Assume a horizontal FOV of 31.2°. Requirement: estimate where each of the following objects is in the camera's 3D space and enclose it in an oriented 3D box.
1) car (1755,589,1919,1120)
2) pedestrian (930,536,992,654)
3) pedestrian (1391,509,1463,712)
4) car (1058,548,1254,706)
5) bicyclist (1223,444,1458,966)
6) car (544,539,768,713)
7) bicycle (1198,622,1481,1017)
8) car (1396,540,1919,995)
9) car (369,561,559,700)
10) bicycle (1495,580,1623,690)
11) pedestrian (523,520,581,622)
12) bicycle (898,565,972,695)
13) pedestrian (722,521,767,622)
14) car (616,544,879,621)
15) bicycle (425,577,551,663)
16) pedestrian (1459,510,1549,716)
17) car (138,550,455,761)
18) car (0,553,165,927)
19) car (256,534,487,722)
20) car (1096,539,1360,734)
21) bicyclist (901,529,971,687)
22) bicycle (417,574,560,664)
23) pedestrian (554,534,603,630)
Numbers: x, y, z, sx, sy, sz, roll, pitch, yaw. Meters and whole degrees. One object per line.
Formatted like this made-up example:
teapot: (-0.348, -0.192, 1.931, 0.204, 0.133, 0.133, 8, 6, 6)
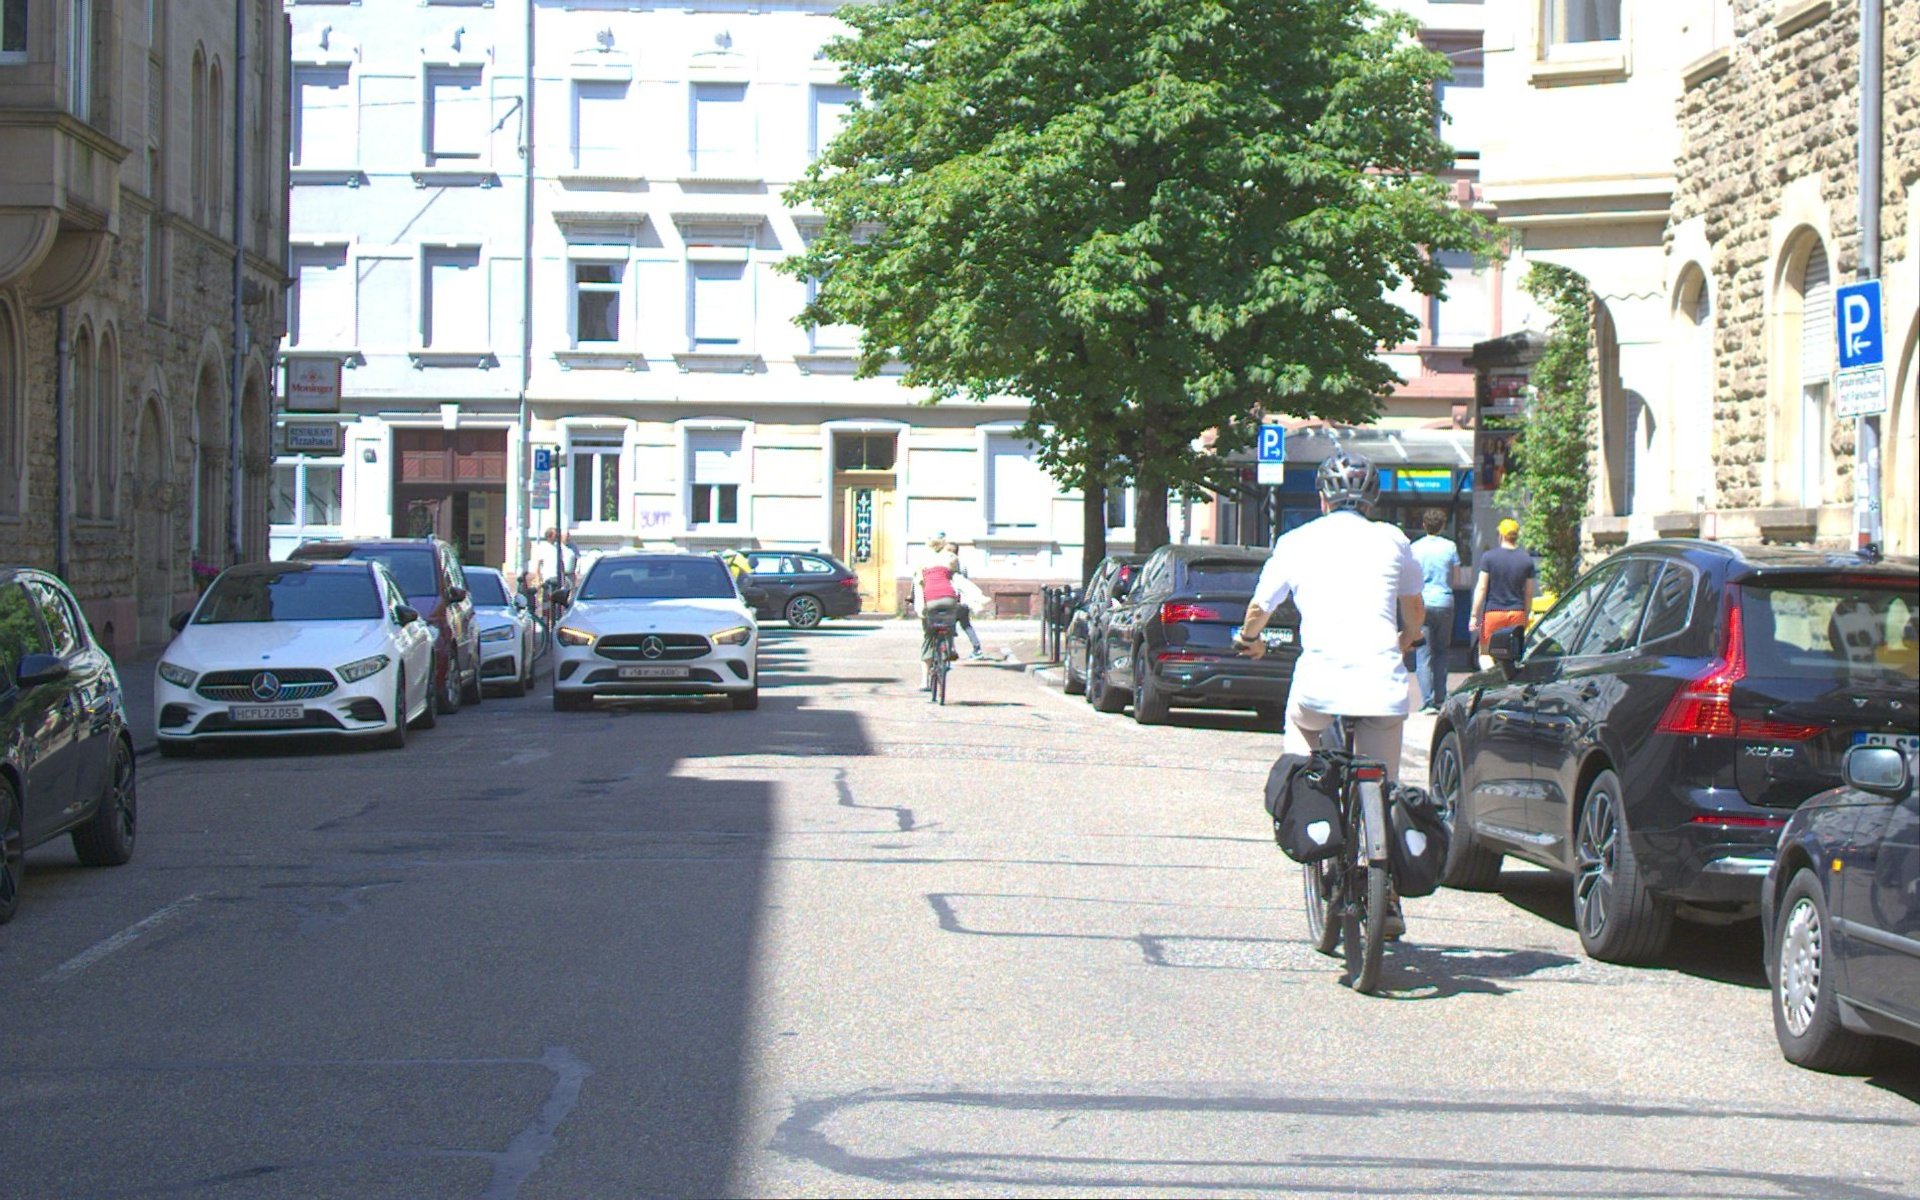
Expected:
car: (3.379, 0.745, 8.607, 1.512, 1.394, 3.973, 4, 0, -4)
pedestrian: (0.015, -0.073, 48.775, 0.857, 1.666, 0.774, 0, 0, -2)
pedestrian: (4.342, 0.095, 31.991, 0.518, 1.862, 0.654, 1, 0, -5)
car: (2.060, 0.256, 37.163, 1.663, 1.535, 4.178, 3, 1, -2)
bicyclist: (1.320, 0.355, 12.021, 0.670, 1.754, 0.609, 2, 0, -1)
car: (-2.758, 0.204, 32.012, 1.841, 1.456, 4.363, -2, 1, -3)
bicycle: (1.319, 0.722, 12.413, 0.652, 1.224, 2.441, 2, 0, -1)
car: (3.197, 0.583, 14.431, 1.833, 1.561, 4.606, 3, 1, -3)
car: (-5.239, 0.283, 36.782, 1.701, 1.348, 4.516, -2, 1, -5)
bicycle: (6.657, 0.367, 38.112, 0.795, 1.165, 2.575, 0, 1, 24)
pedestrian: (-7.572, -0.536, 63.789, 0.850, 1.882, 0.935, 0, 0, 8)
bicycle: (-0.256, 0.273, 33.625, 0.652, 1.205, 2.441, 2, 0, -1)
pedestrian: (-3.979, -0.523, 63.424, 0.724, 1.847, 0.685, 0, 0, -12)
car: (-3.976, -0.334, 64.656, 4.859, 1.432, 2.000, 0, 0, -2)
bicycle: (-5.963, 0.251, 43.455, 1.524, 1.004, 0.367, 3, 0, -6)
pedestrian: (5.010, 0.115, 31.716, 0.599, 1.873, 0.883, 1, 0, -5)
car: (-5.052, 0.375, 26.703, 1.776, 1.455, 4.279, -2, 1, -3)
car: (-4.689, 0.562, 15.194, 1.567, 1.486, 3.894, -2, 1, -3)
car: (-5.369, 0.224, 31.776, 1.672, 1.577, 4.053, -2, 1, -4)
car: (2.387, 0.287, 31.690, 1.735, 1.591, 4.348, 3, 1, -4)
bicyclist: (-0.235, 0.079, 33.579, 0.670, 1.528, 0.609, 0, 0, -1)
bicycle: (-5.892, 0.238, 43.000, 1.704, 1.041, 0.414, 3, 0, -6)
pedestrian: (-7.230, -0.338, 65.157, 0.901, 1.808, 0.960, 0, 0, -7)
